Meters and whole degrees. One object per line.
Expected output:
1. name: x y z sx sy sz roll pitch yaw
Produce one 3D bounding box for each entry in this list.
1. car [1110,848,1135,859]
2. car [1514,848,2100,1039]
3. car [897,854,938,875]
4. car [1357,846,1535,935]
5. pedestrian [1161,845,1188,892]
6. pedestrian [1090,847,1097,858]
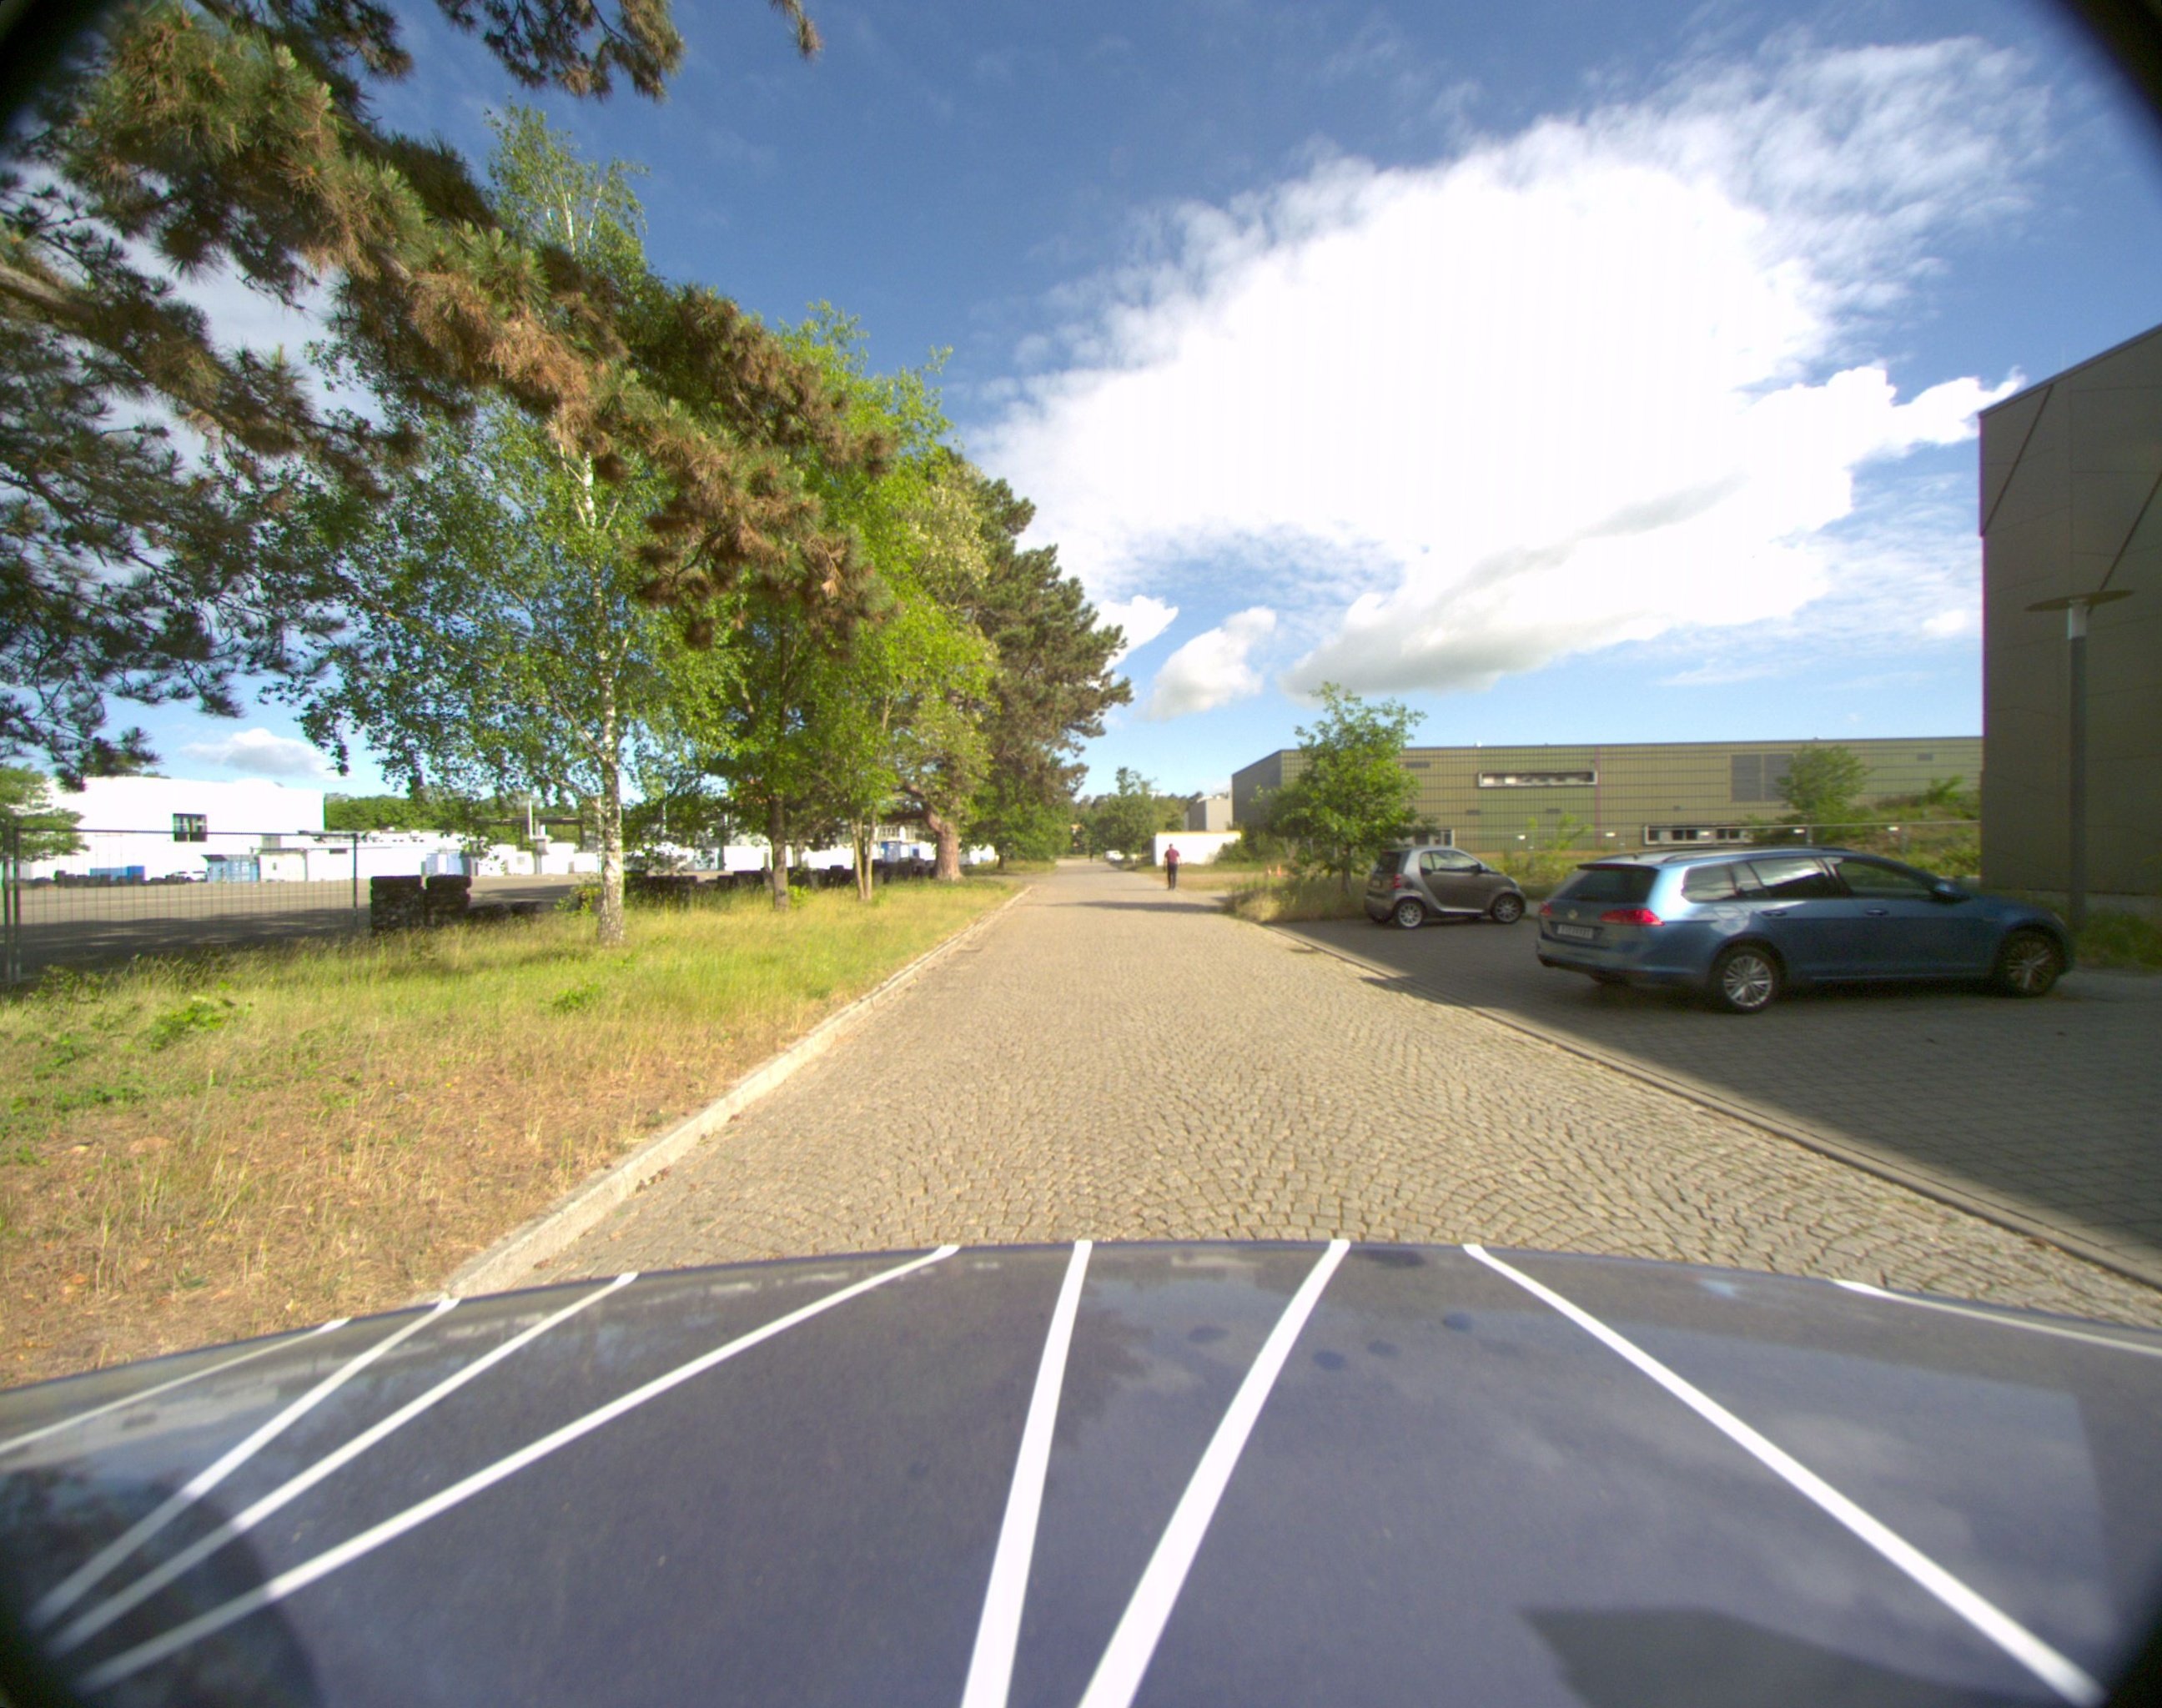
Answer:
1. car: 6.631 -0.154 122.224 3.996 1.678 2.000 -1 1 3
2. car: 6.912 0.773 7.527 4.268 1.455 1.680 -3 1 -2
3. car: -12.266 0.758 57.145 1.846 1.440 4.001 -1 1 6
4. car: 7.074 0.677 14.897 2.706 1.533 1.518 -3 1 -1
5. pedestrian: 3.586 0.539 29.273 0.806 1.761 1.152 -1 1 -4
6. pedestrian: 1.888 -0.216 117.889 0.908 1.797 0.983 -1 1 -7
